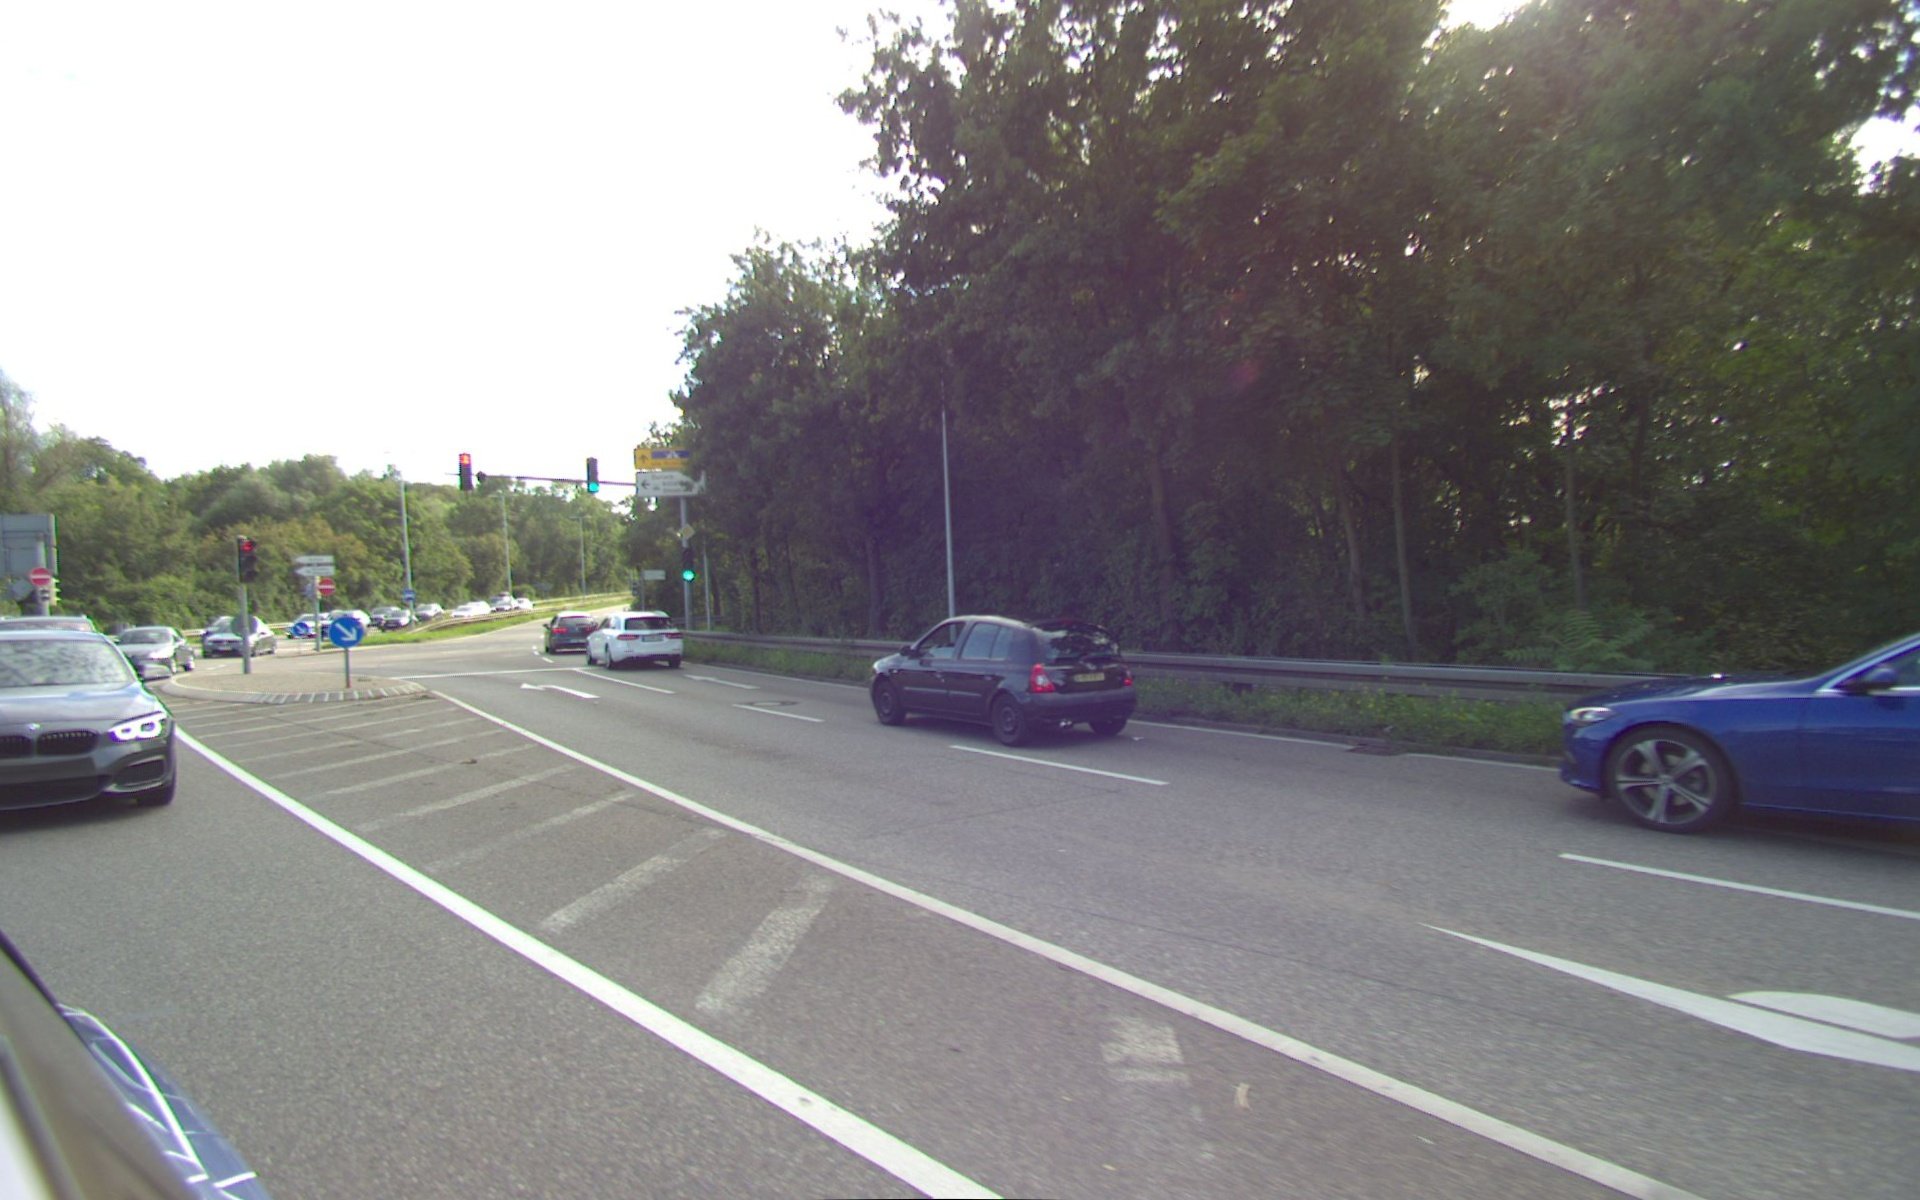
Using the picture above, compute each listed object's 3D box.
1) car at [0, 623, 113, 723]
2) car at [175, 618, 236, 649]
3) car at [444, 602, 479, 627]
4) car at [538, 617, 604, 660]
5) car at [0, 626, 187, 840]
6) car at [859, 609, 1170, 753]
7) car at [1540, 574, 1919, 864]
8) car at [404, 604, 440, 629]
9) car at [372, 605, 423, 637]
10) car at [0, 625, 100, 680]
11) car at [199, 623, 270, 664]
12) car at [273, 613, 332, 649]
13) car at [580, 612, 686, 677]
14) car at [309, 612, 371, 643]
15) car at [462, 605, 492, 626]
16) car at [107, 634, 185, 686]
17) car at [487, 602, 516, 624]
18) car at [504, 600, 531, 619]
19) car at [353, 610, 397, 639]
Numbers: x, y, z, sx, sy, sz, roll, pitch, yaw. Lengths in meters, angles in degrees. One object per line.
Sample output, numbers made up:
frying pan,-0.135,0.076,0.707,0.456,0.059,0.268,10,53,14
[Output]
car,-16.086,1.202,17.692,1.791,1.518,4.400,-1,-1,-38
car,-37.721,1.650,50.687,1.613,1.415,3.753,-1,-1,-24
car,-41.622,1.192,84.639,1.966,2.029,4.012,-1,0,-17
car,-14.196,1.368,36.801,1.788,1.415,4.405,-1,-1,-26
car,-7.803,0.961,8.374,1.761,1.415,3.973,-1,-1,-44
car,0.473,0.835,11.902,1.603,1.376,3.782,-1,-1,-36
car,6.105,0.602,5.503,1.792,1.532,4.771,-1,-1,-41
car,-44.972,1.344,84.714,1.966,2.029,4.012,-1,0,-18
car,-38.349,1.409,69.122,1.966,2.029,4.284,-1,0,-14
car,-29.247,1.631,32.248,1.965,1.564,4.013,-1,0,-28
car,-30.045,1.768,42.012,1.613,1.564,3.753,-1,-1,-24
car,-39.501,1.826,60.870,1.966,2.029,4.012,-1,0,-18
car,-8.848,1.143,27.093,1.789,1.532,4.841,-1,-1,-29
car,-35.153,1.514,57.498,1.966,1.612,4.294,-1,0,-18
car,-48.454,1.514,101.497,1.966,2.029,4.011,-1,0,-15
car,-24.023,1.711,29.821,1.666,1.333,3.790,-1,0,-41
car,-43.294,1.231,95.639,1.966,2.029,4.012,-1,0,-17
car,-49.472,1.035,113.247,1.967,2.029,4.010,-1,0,-13
car,-42.989,1.763,74.417,1.966,2.029,4.012,-1,0,-18
